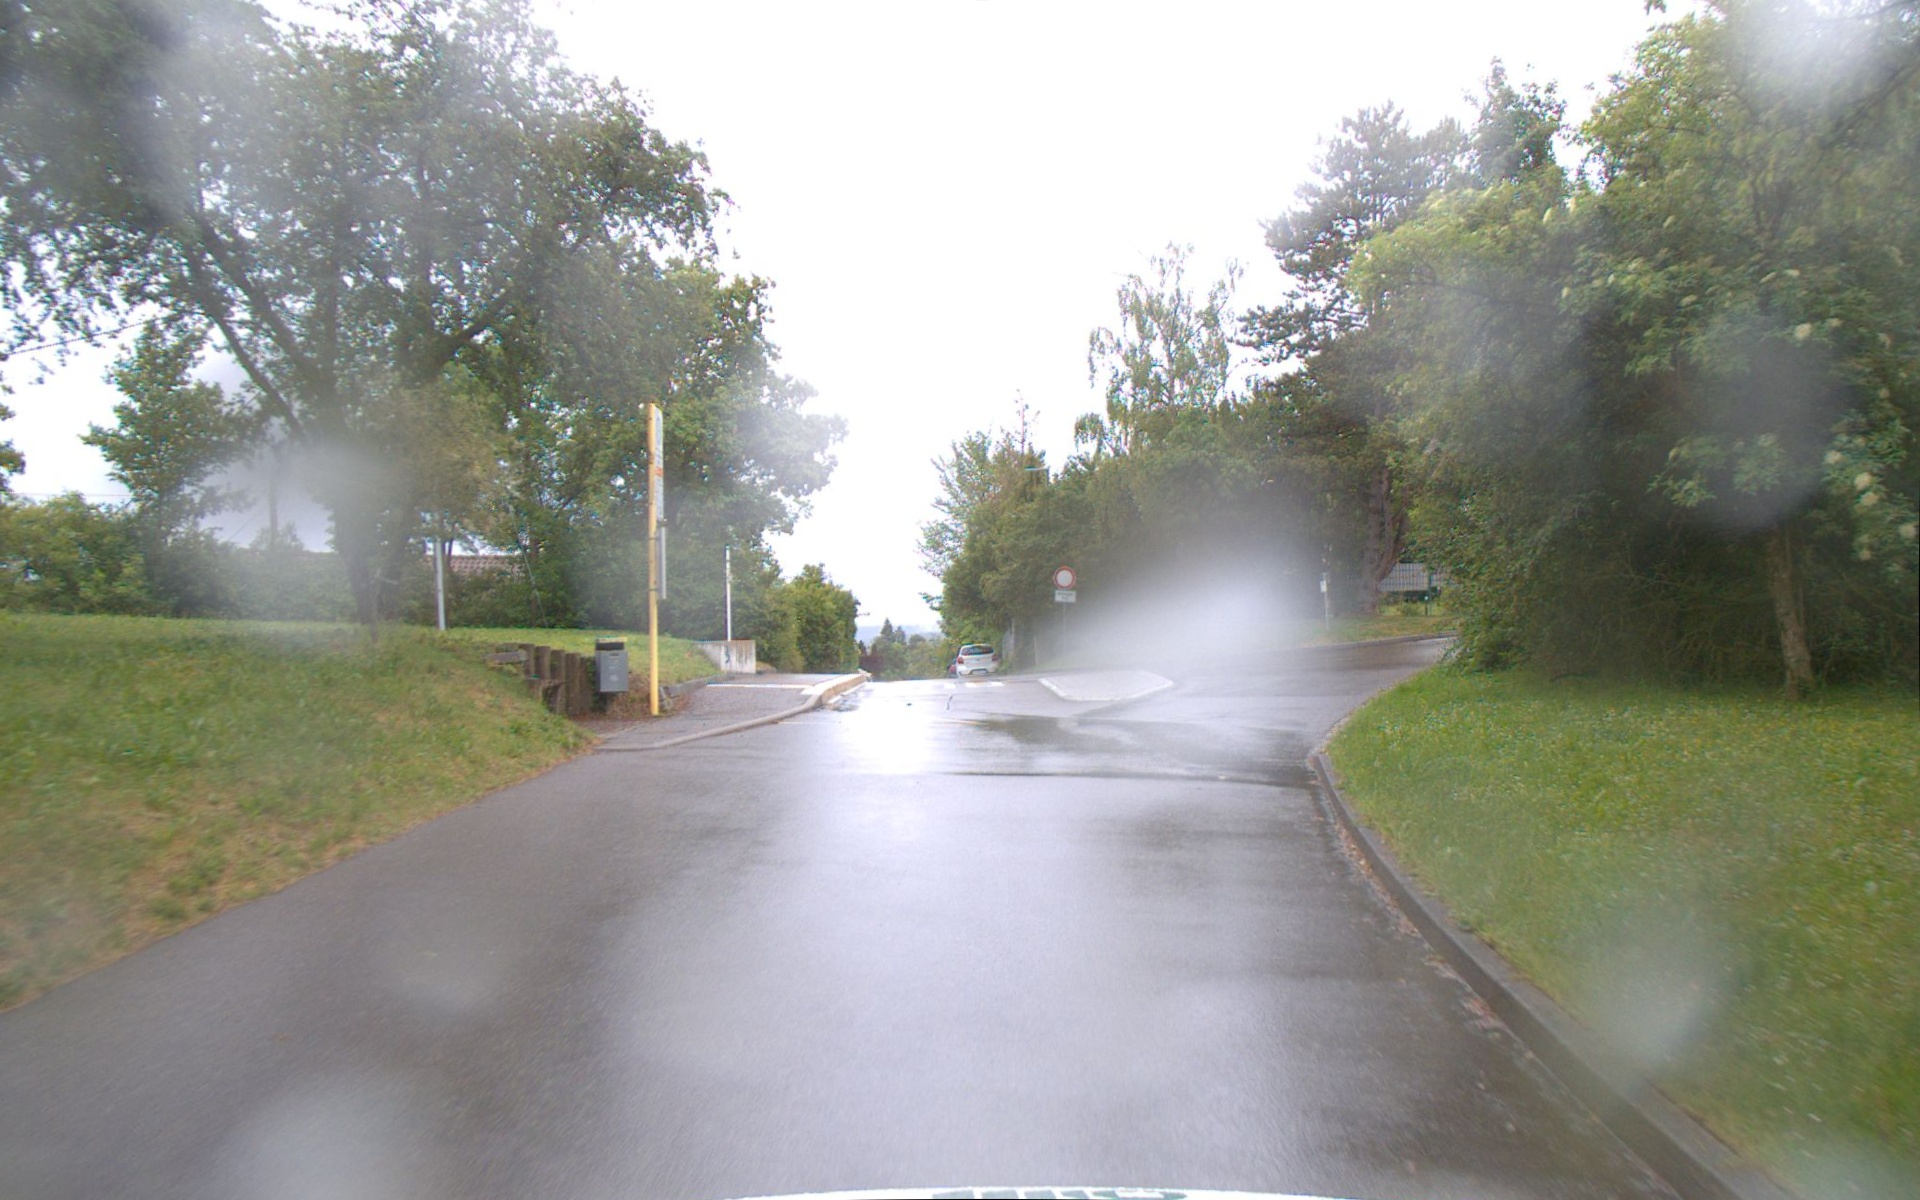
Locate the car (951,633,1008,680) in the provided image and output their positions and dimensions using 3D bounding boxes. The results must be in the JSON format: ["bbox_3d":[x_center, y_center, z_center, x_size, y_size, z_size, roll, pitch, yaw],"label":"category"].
[{"bbox_3d":[0.769,2.168,62.364,1.952,1.611,4.001,-1,-4,4],"label":"car"}]
